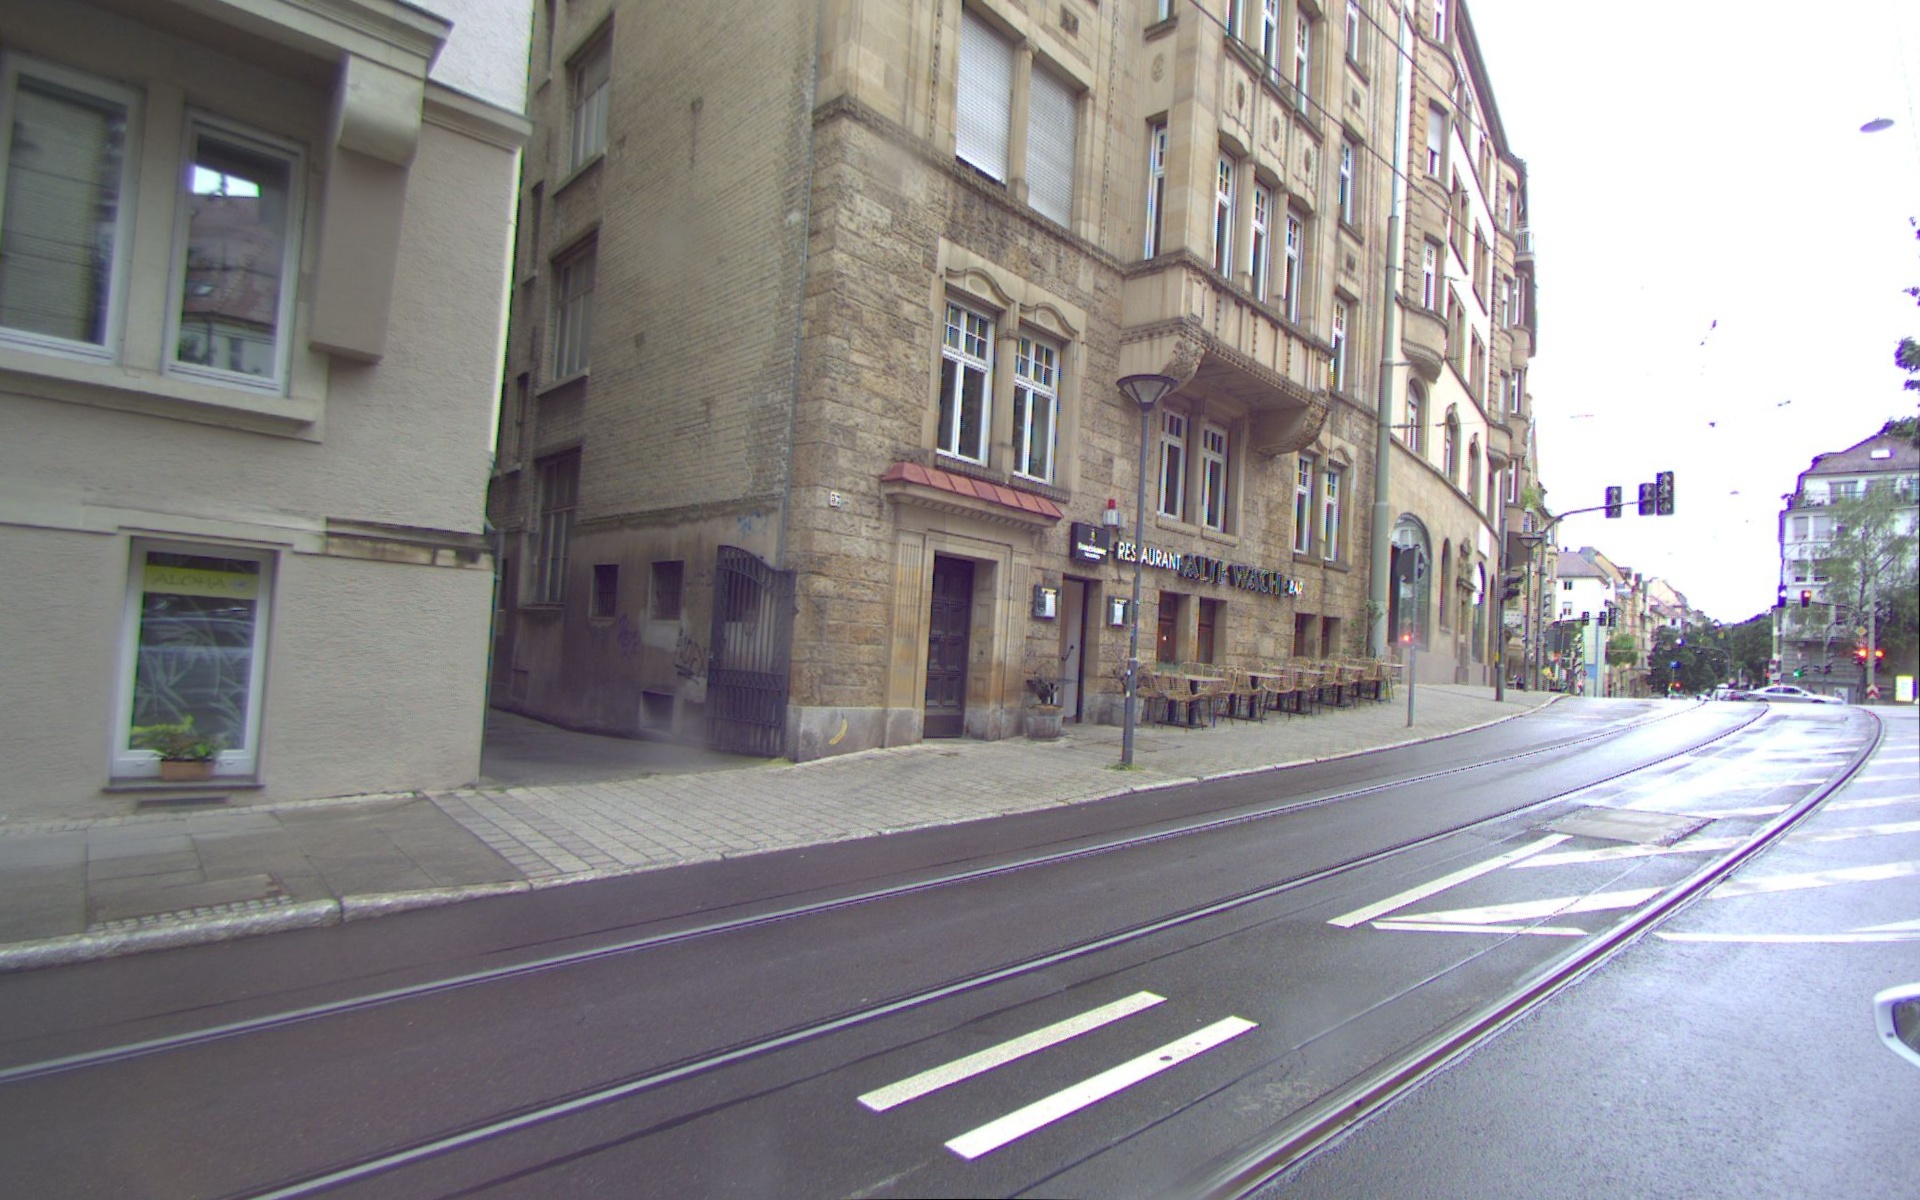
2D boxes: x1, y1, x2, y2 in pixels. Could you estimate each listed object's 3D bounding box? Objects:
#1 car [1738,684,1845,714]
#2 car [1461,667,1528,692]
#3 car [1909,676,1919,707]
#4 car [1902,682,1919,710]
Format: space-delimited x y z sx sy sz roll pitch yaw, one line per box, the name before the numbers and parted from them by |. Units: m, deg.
car | 49.779 5.900 60.208 1.782 1.530 4.621 2 -2 -35
car | 36.907 5.442 69.355 3.932 1.530 1.795 0 -2 33
car | 50.125 4.628 51.003 3.954 1.530 1.786 2 -4 -31
car | 61.224 5.989 62.575 3.930 1.635 1.796 1 -2 -12
